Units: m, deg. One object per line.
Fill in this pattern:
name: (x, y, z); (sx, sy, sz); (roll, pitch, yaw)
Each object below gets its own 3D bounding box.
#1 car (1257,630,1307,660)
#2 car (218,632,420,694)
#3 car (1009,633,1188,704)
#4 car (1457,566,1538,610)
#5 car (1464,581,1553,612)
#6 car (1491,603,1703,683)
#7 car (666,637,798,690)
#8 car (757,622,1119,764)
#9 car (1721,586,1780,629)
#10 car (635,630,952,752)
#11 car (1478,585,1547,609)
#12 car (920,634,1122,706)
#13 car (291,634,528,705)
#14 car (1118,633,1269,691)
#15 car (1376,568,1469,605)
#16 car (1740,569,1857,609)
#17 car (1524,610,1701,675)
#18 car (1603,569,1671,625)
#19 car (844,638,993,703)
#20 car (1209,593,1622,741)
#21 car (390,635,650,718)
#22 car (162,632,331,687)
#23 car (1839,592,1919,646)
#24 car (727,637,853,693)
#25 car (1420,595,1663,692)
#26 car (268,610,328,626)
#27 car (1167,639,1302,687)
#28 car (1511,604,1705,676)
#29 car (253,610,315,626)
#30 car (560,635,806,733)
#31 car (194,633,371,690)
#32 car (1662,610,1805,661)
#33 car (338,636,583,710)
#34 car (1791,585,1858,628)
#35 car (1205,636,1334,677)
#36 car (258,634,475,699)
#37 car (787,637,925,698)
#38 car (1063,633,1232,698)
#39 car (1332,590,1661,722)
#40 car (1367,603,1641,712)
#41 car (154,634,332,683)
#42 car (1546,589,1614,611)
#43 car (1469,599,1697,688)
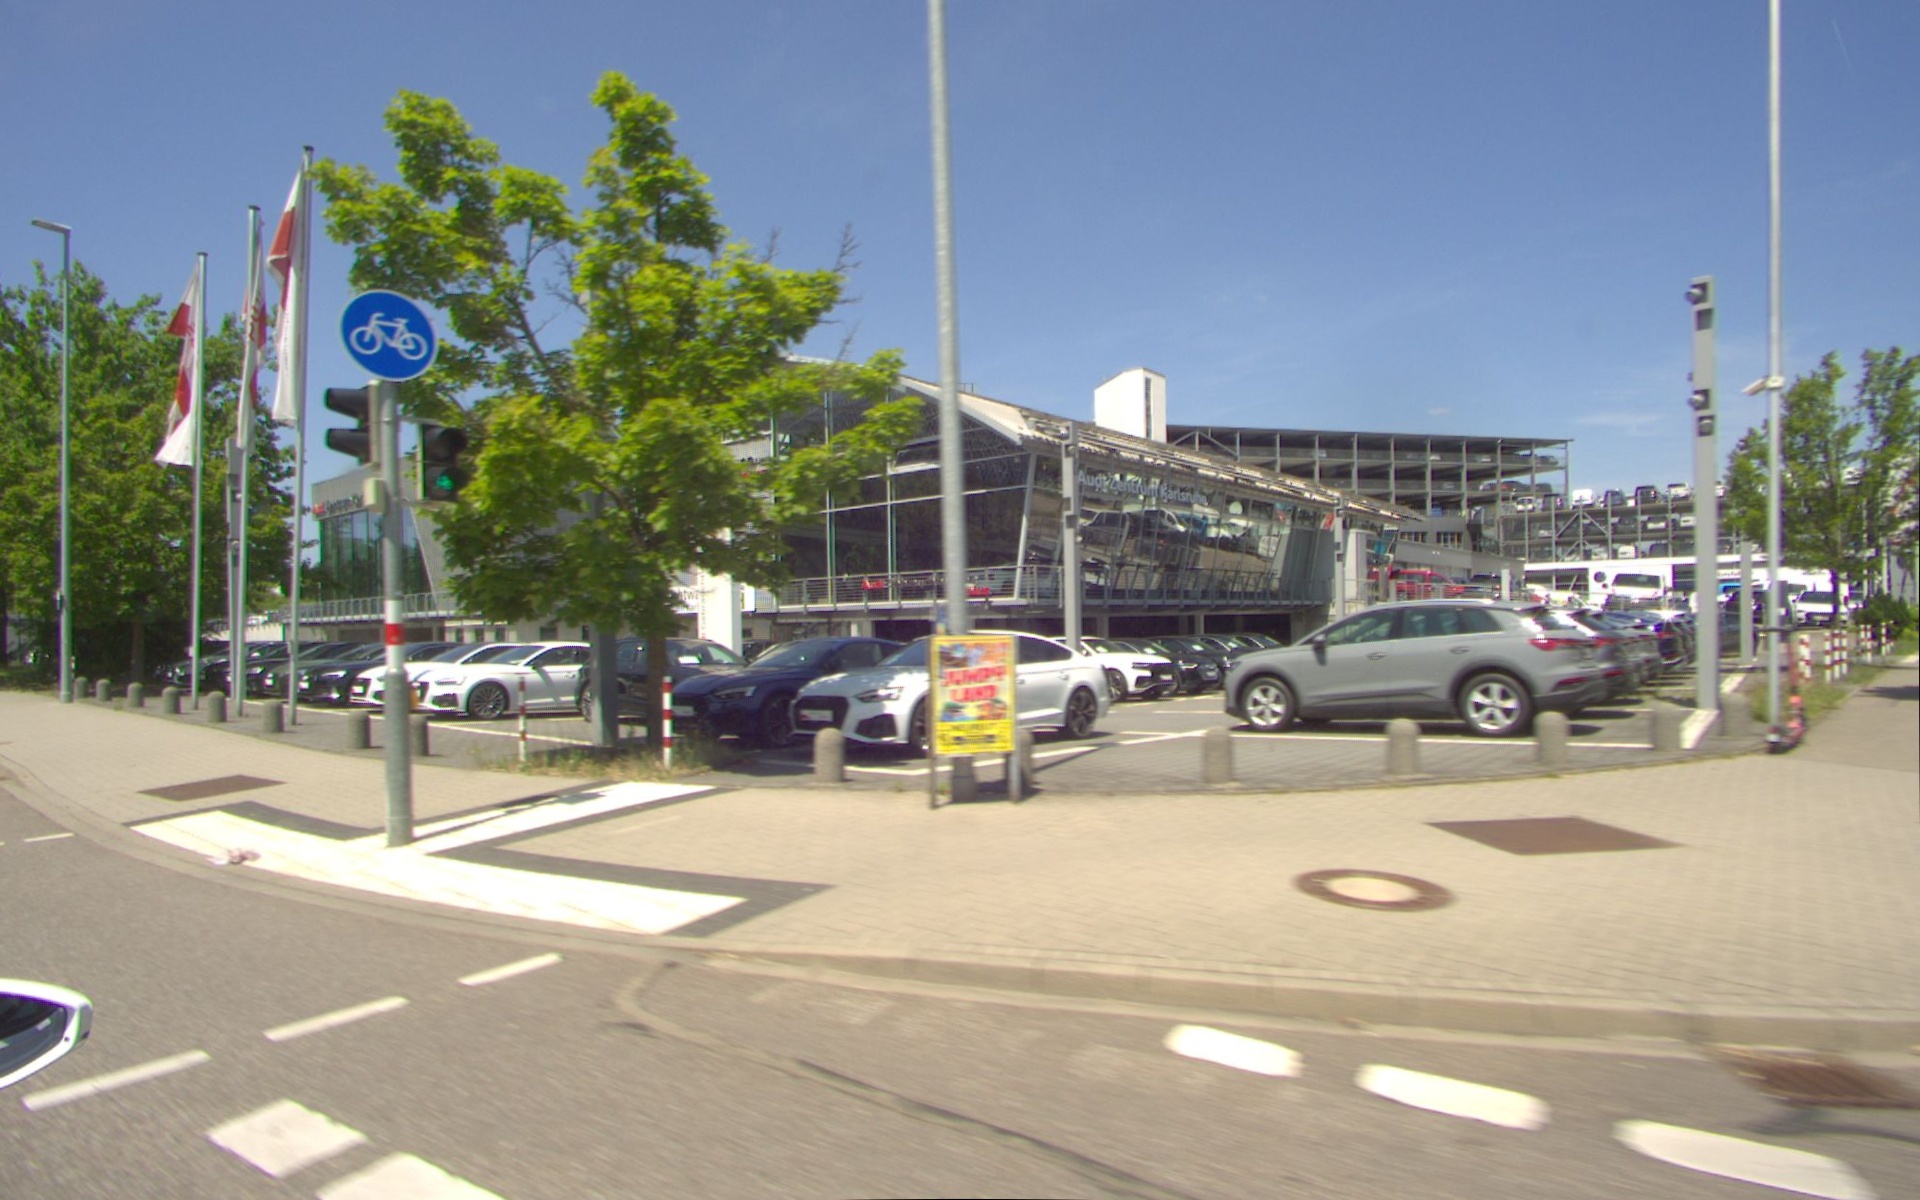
car: (18.539, 2.605, 57.613); (1.593, 1.629, 3.498); (-1, -4, 40)
car: (-16.620, 1.639, 26.122); (1.847, 1.471, 4.085); (-2, -4, 40)
car: (3.467, 1.703, 25.540); (4.263, 1.647, 1.865); (-2, -4, 43)
car: (22.436, -0.459, 41.704); (1.893, 1.729, 4.548); (-1, -1, 43)
car: (33.913, -0.189, 61.964); (4.537, 1.820, 1.898); (-1, -1, 42)
car: (14.443, 0.984, 22.820); (3.947, 1.675, 1.840); (-1, -3, 36)
car: (-7.303, 2.043, 32.354); (1.614, 1.592, 3.967); (-1, -4, 40)
car: (-0.067, 1.056, 12.247); (1.848, 1.407, 4.573); (-2, -4, 41)
car: (35.234, 0.375, 44.685); (1.975, 1.727, 3.973); (-1, -3, 38)
car: (-2.126, 1.173, 13.726); (1.847, 1.407, 4.080); (-2, -4, 40)
car: (41.596, -0.215, 75.371); (4.305, 1.674, 1.900); (-1, -1, 39)
car: (1.346, 1.599, 23.605); (4.666, 1.534, 1.865); (-2, -4, 43)
car: (-12.081, 1.509, 22.193); (1.847, 1.407, 4.209); (-2, -4, 40)
car: (6.864, 1.780, 29.661); (3.956, 1.560, 1.842); (-2, -1, 42)
car: (23.618, -0.651, 51.143); (4.092, 1.744, 1.903); (-1, -1, 33)
car: (42.921, -0.500, 51.432); (4.533, 1.911, 1.900); (-1, -1, 39)
car: (17.821, 1.172, 27.450); (3.947, 1.675, 1.840); (-1, -3, 36)
car: (26.280, -0.077, 38.784); (1.890, 1.992, 5.216); (-1, -1, 37)
car: (-1.051, 1.877, 26.985); (1.829, 1.618, 3.970); (-2, -4, 40)
car: (5.687, 0.809, 12.849); (4.454, 1.578, 1.859); (-3, -2, 41)
car: (-8.133, 1.395, 18.797); (1.852, 1.381, 4.080); (-2, -4, 40)
car: (-20.739, 1.729, 29.192); (1.812, 1.471, 3.667); (-2, -4, 40)
car: (31.465, 0.633, 34.301); (1.893, 1.716, 4.548); (-1, -1, 43)
car: (-5.168, 1.975, 30.726); (1.623, 1.600, 3.633); (-1, -4, 40)
car: (10.756, 0.754, 18.627); (3.767, 1.637, 1.631); (0, -1, 36)
car: (-52.948, 1.439, 80.152); (1.662, 1.144, 3.715); (-1, -3, 36)
car: (8.621, 1.954, 31.623); (3.778, 1.364, 1.665); (-2, -1, 42)
car: (16.111, 0.972, 25.008); (3.947, 1.676, 1.838); (-1, -1, 36)
car: (-55.240, 1.460, 81.882); (1.695, 1.226, 3.928); (-1, -2, 36)
car: (-4.797, 1.342, 16.971); (4.612, 1.437, 1.854); (-2, -4, 42)
car: (-18.615, 1.688, 27.628); (1.812, 1.471, 3.667); (-2, -4, 40)
car: (25.185, 1.116, 32.585); (4.543, 1.491, 1.843); (-1, 0, -26)
car: (-10.105, 1.459, 20.496); (1.847, 1.365, 4.083); (-2, -4, 40)
car: (37.269, 0.328, 43.267); (1.975, 1.727, 3.973); (-1, -3, 38)
car: (10.280, 1.852, 33.383); (3.849, 1.260, 1.496); (-2, -1, 42)
car: (-14.092, 1.573, 23.944); (1.847, 1.422, 4.085); (-2, -4, 40)
car: (-2.937, 1.933, 28.936); (1.637, 1.642, 3.970); (-1, -4, 40)
car: (5.127, 1.783, 27.757); (4.298, 1.647, 1.865); (-2, -4, 43)
car: (7.783, 0.813, 14.751); (3.957, 1.675, 1.835); (-2, -4, 43)
car: (9.292, 0.968, 17.221); (3.947, 1.675, 1.840); (-1, -3, 36)
car: (-22.393, 1.841, 31.402); (1.795, 1.419, 4.215); (-1, -3, 40)
car: (49.133, 0.041, 79.412); (4.309, 1.674, 1.898); (-1, -1, 42)
car: (12.769, 0.882, 20.648); (3.860, 1.675, 1.624); (-1, -2, 36)
